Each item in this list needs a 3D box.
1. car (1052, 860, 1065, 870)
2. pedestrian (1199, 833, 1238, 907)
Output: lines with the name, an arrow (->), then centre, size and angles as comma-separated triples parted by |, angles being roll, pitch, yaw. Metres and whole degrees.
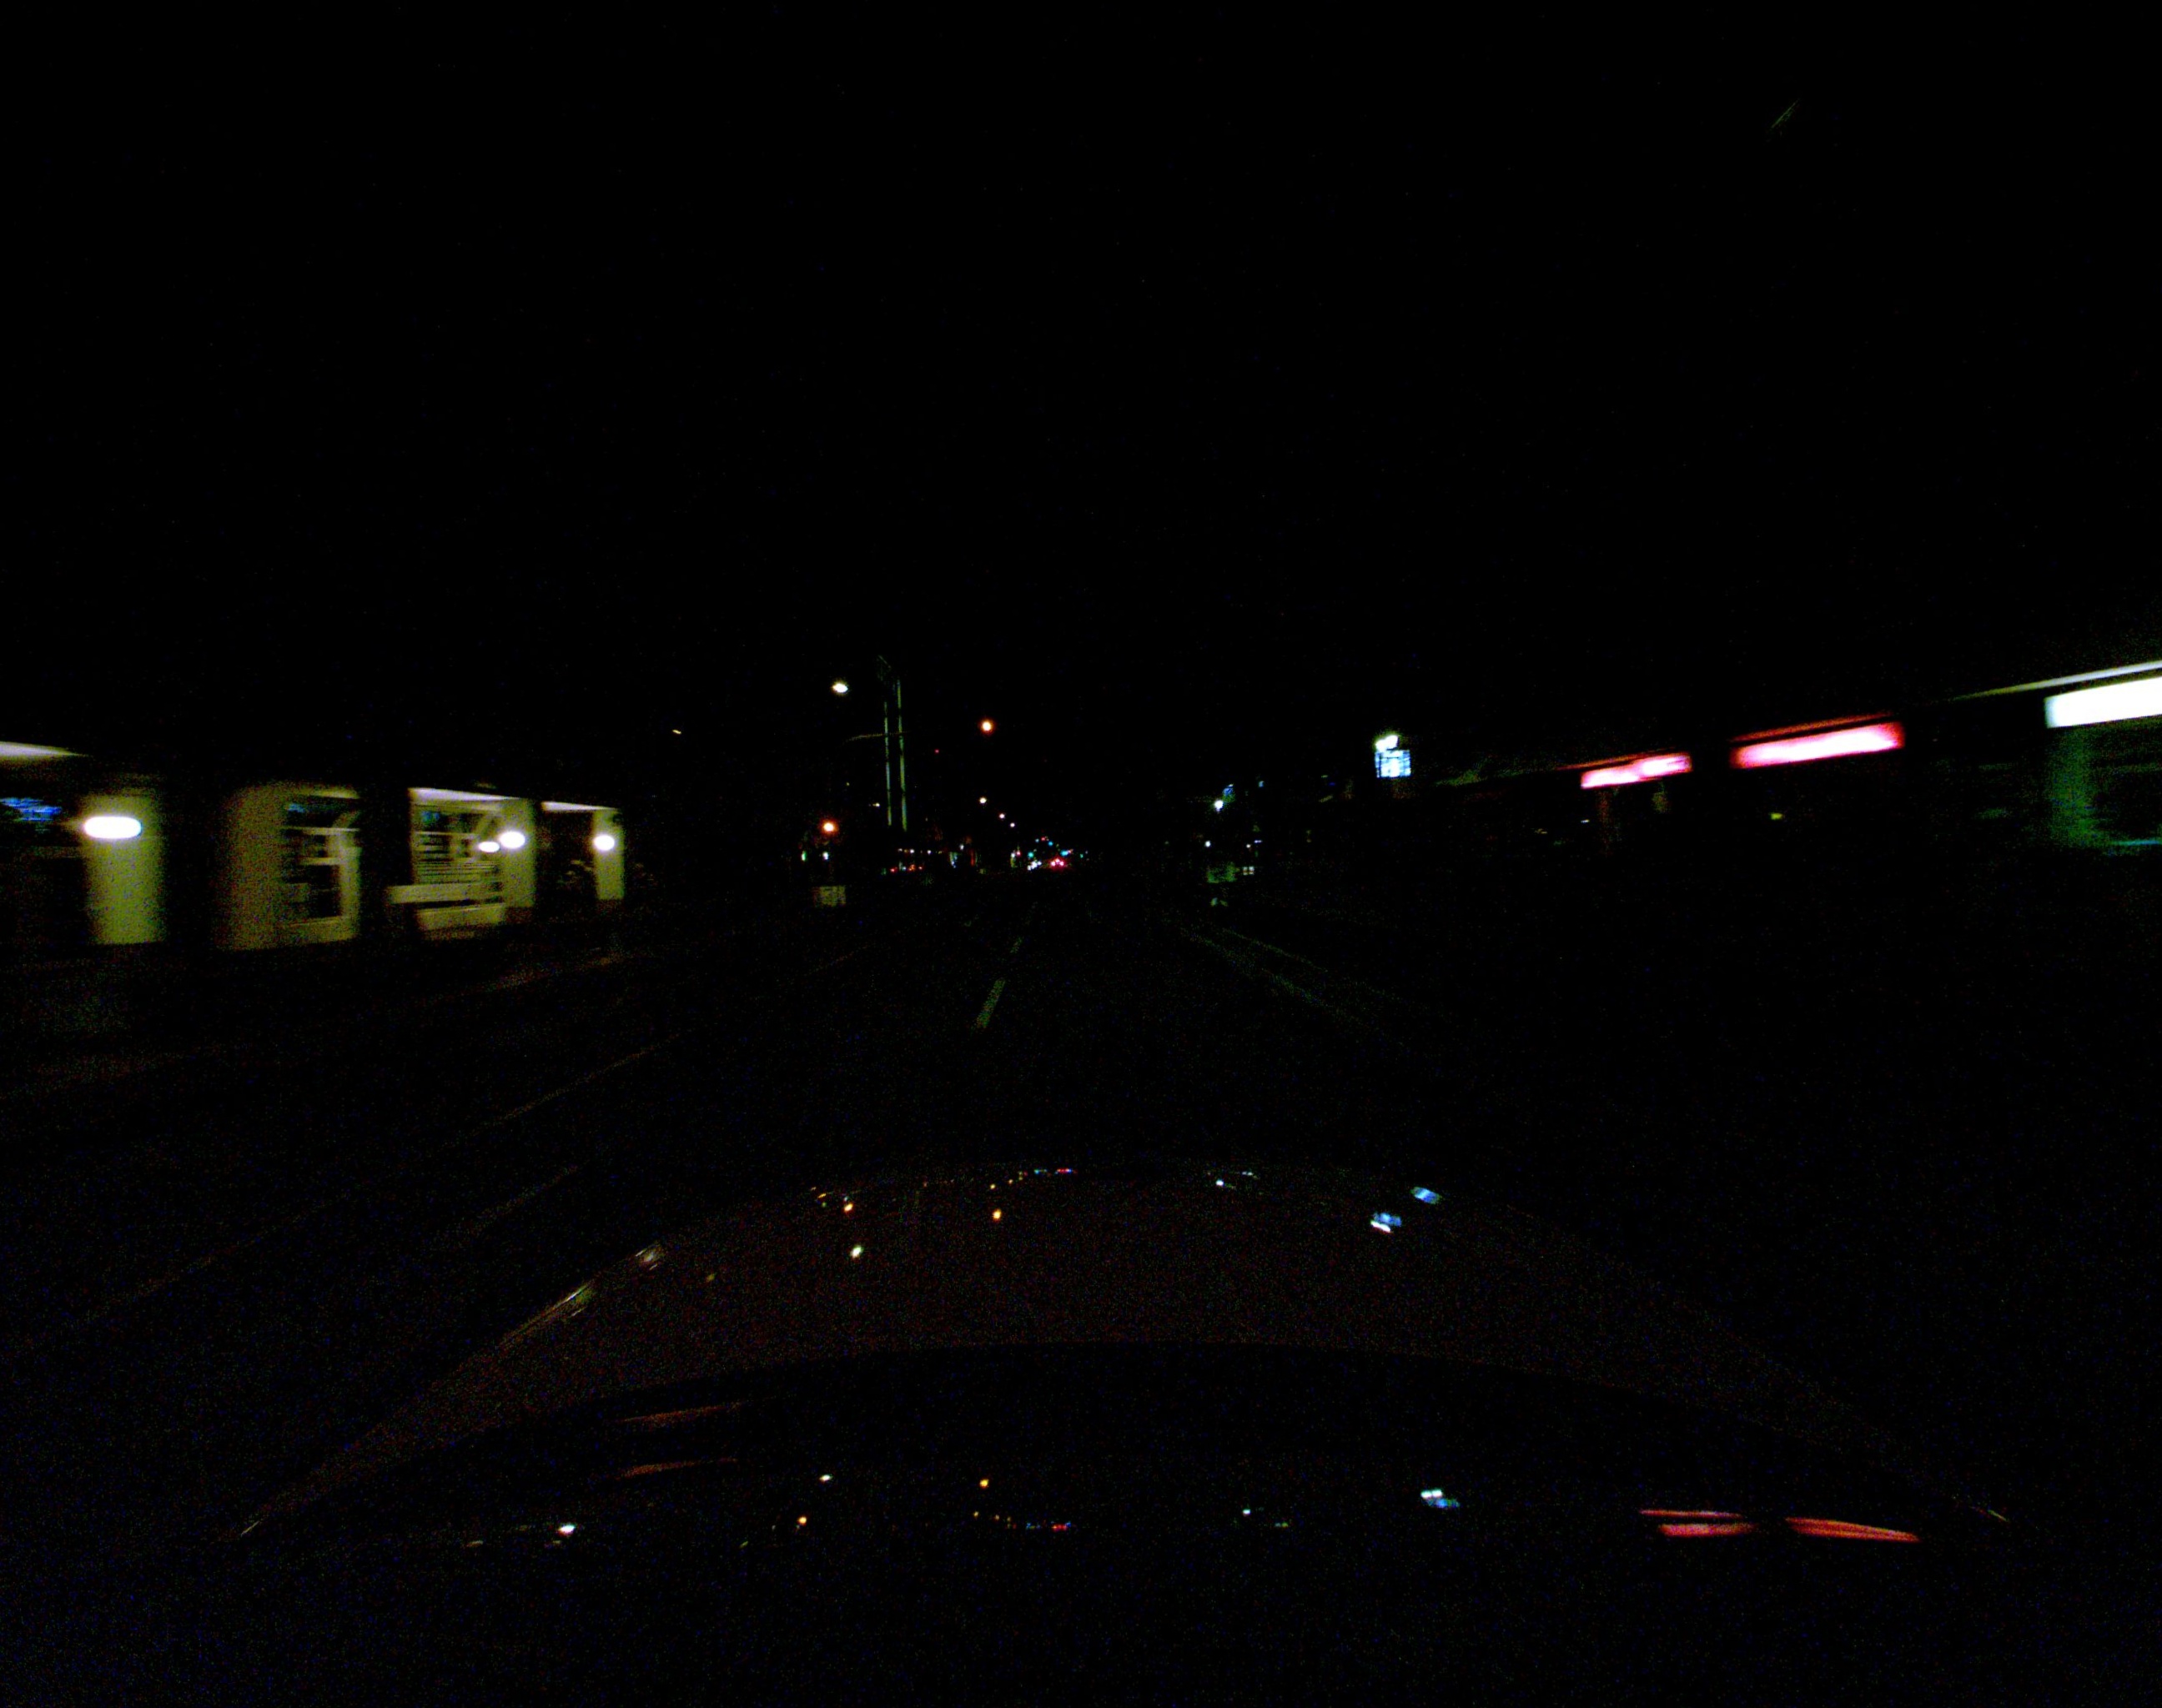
car -> -3.941, 1.911, 141.773 | 1.989, 1.643, 3.996 | -3, 0, -2
pedestrian -> 3.556, 0.408, 21.164 | 0.701, 1.818, 1.081 | -3, -1, -1
